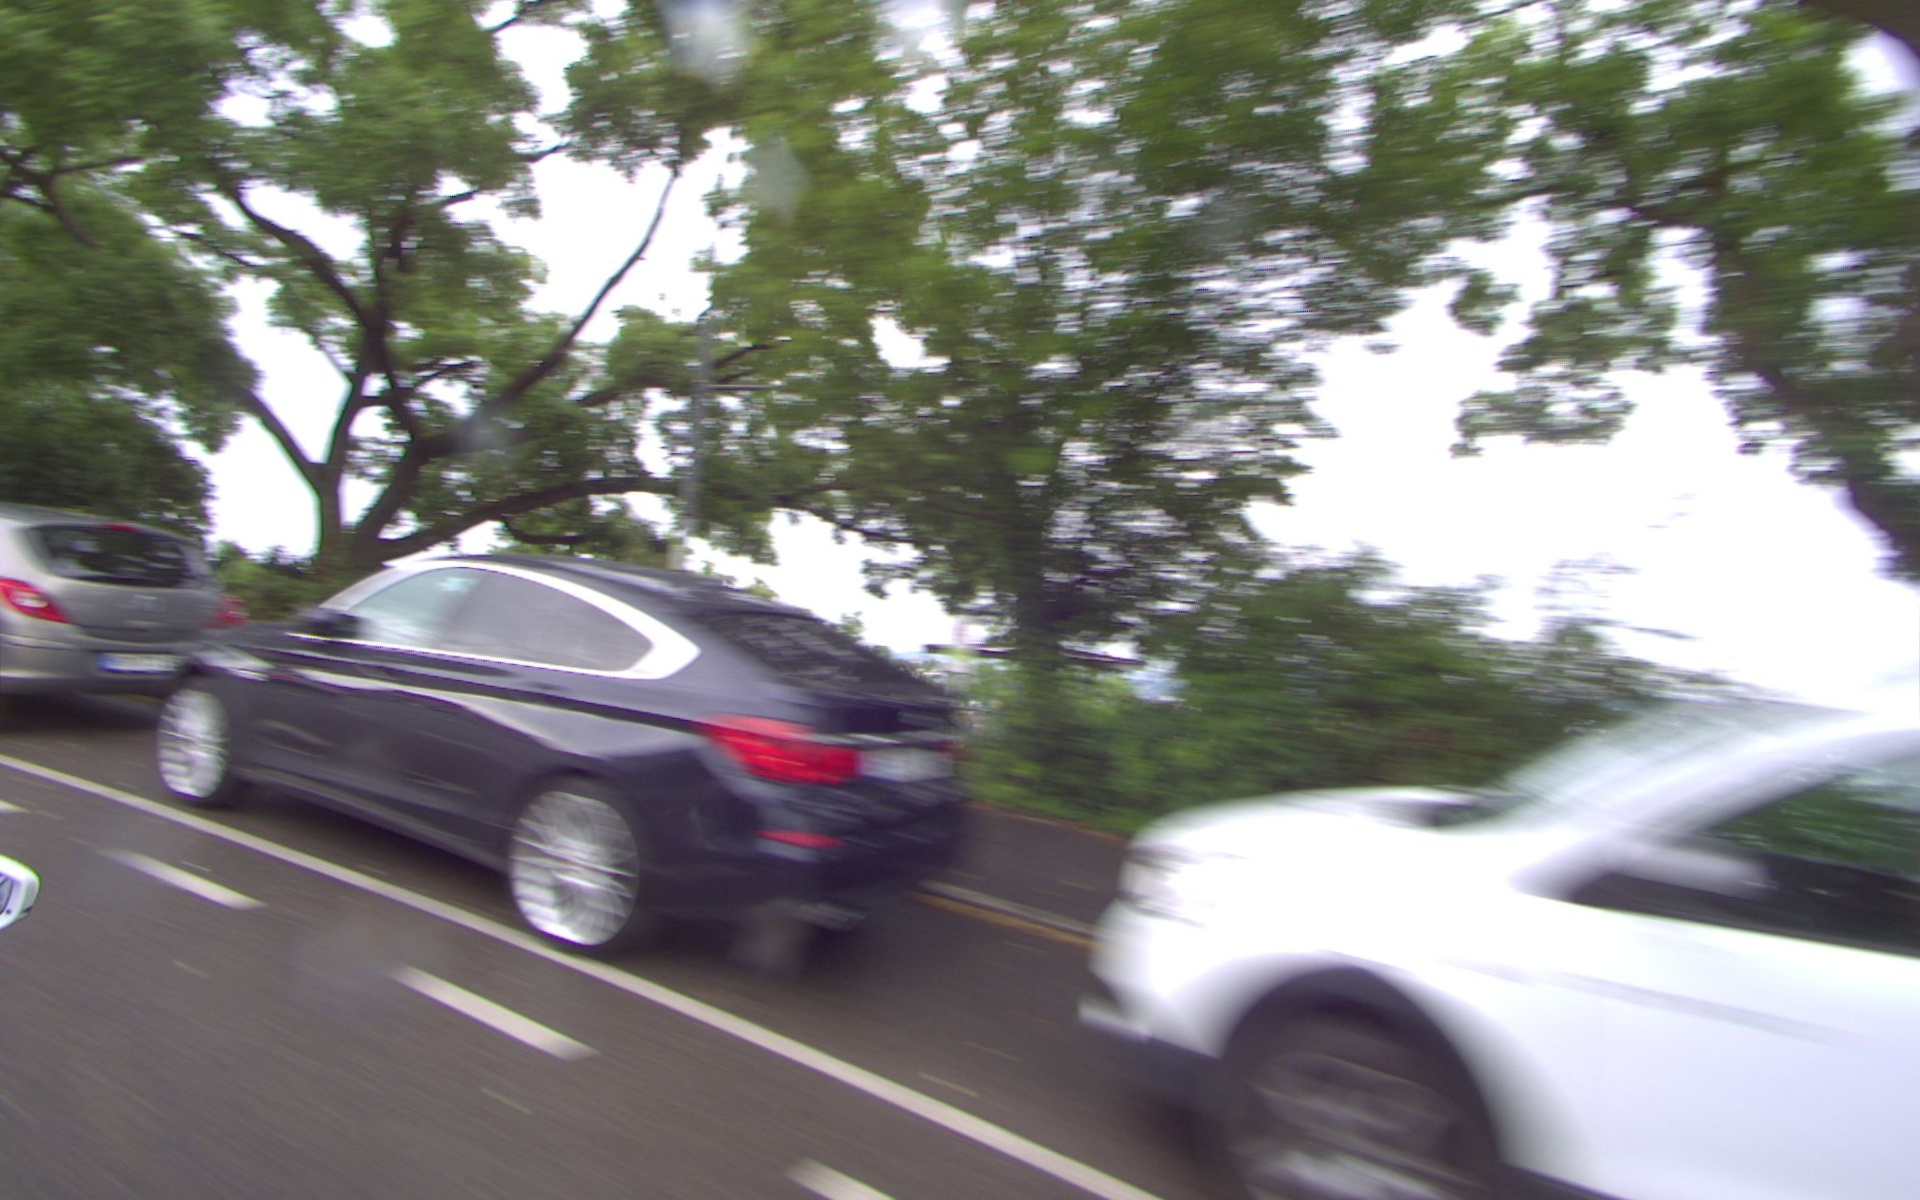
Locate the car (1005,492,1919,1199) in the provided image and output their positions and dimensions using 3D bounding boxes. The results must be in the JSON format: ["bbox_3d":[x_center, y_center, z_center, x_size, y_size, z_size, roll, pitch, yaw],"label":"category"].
[{"bbox_3d":[2.525,0.881,2.536,4.348,1.844,1.749,7,1,29],"label":"car"}]

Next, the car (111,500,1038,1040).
[{"bbox_3d":[-2.228,0.530,5.368,4.811,1.561,1.864,7,-1,29],"label":"car"}]

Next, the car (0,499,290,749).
[{"bbox_3d":[-7.470,-0.009,7.736,4.059,1.521,1.739,7,0,21],"label":"car"}]
